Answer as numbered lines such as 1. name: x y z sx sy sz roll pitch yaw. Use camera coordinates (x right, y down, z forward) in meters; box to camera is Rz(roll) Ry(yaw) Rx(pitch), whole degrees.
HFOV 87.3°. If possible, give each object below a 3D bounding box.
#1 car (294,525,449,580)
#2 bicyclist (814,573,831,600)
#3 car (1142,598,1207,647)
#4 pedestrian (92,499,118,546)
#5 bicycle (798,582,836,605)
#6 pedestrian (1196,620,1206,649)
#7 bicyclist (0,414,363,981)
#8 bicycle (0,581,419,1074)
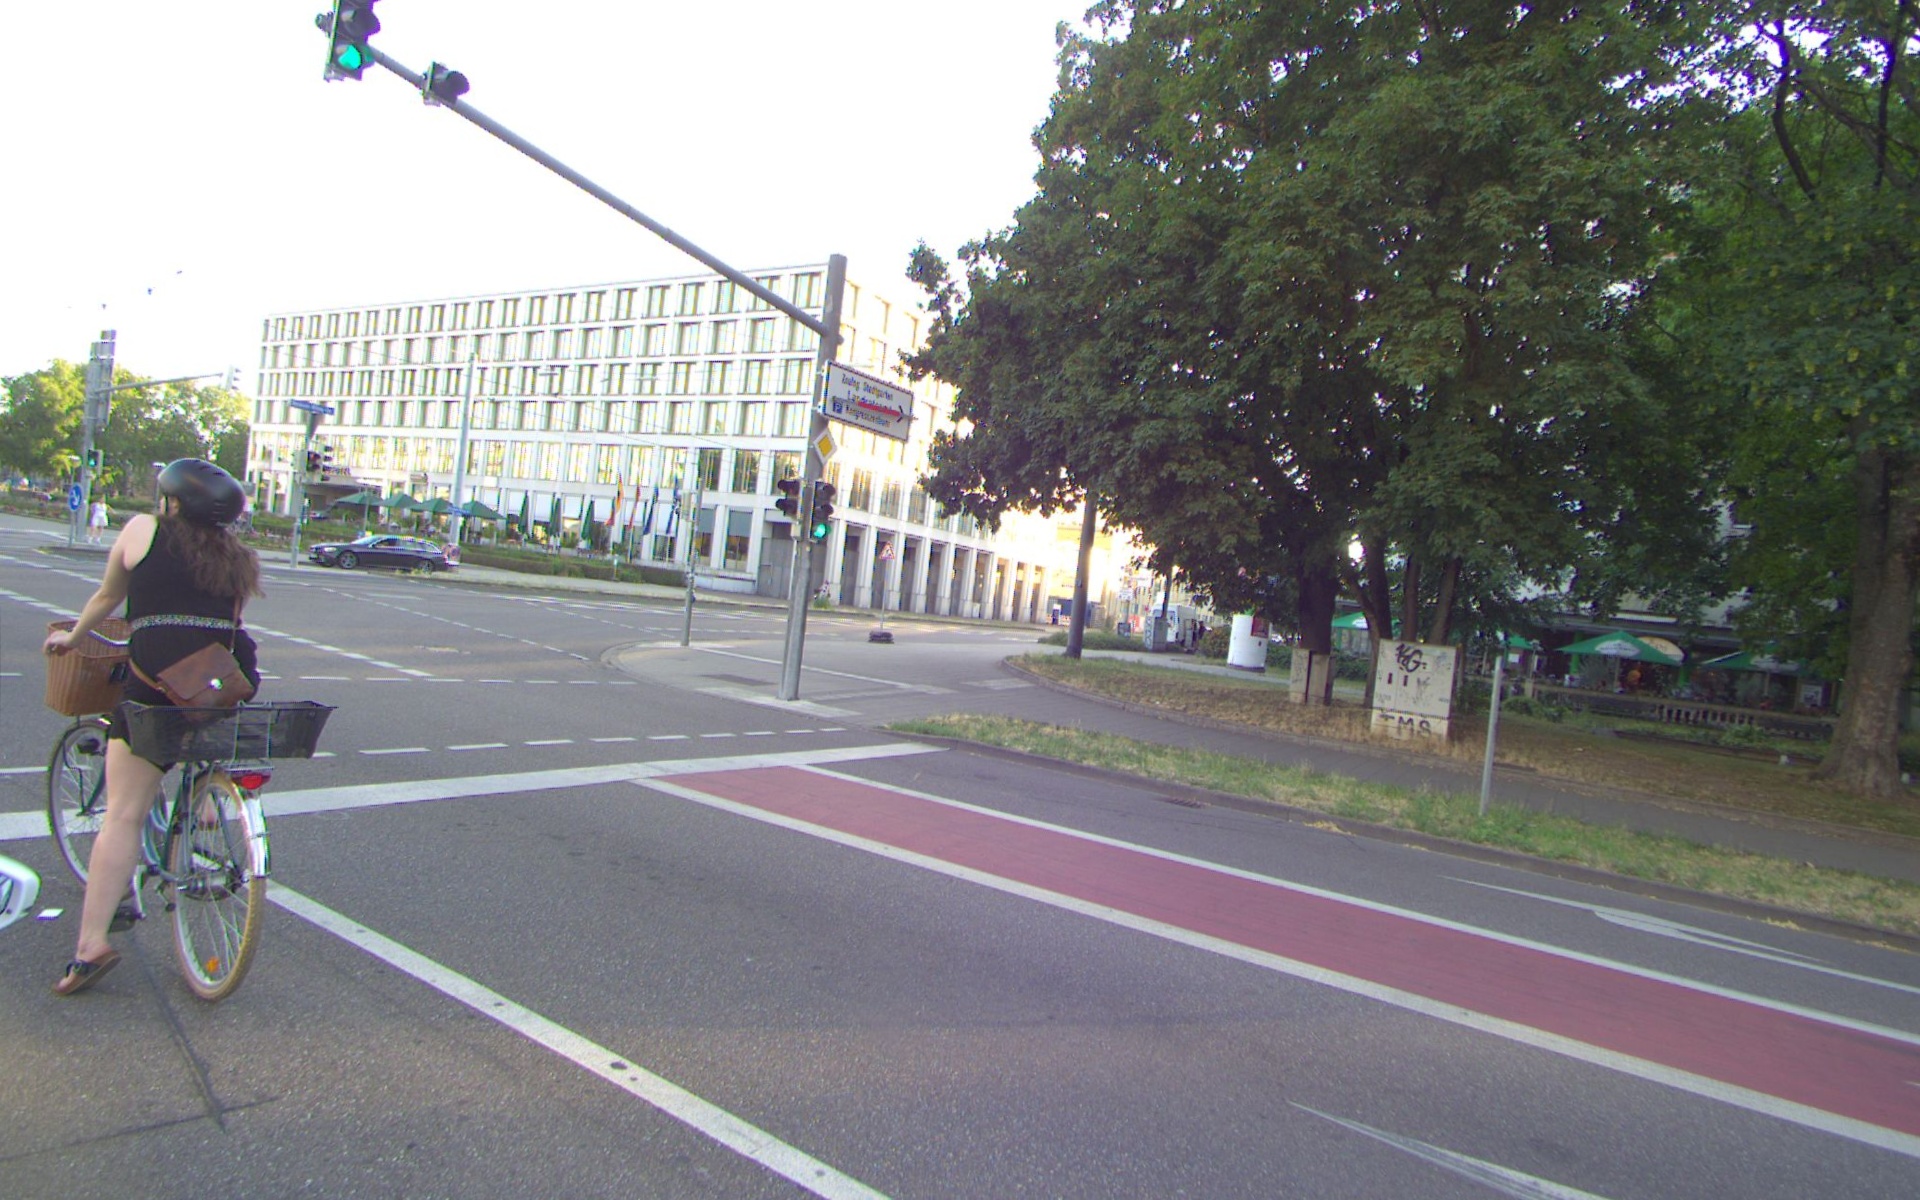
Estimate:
1. car: -22.982 -1.811 39.480 1.968 1.534 4.826 7 0 34
2. bicyclist: -8.270 -0.820 60.495 0.567 1.556 0.708 7 1 29
3. car: 11.894 1.285 55.503 1.967 2.318 4.605 6 0 31
4. pedestrian: -29.844 -2.707 35.115 0.402 1.559 0.491 7 2 31
5. bicycle: -8.505 -0.388 60.180 0.592 1.120 2.775 7 0 29
6. pedestrian: 13.369 1.922 55.772 0.302 1.525 0.336 7 -1 31
7. bicyclist: -2.709 0.262 3.435 0.982 1.655 0.600 7 0 32
8. bicycle: -2.772 0.613 3.441 1.971 1.146 0.612 7 -1 32
